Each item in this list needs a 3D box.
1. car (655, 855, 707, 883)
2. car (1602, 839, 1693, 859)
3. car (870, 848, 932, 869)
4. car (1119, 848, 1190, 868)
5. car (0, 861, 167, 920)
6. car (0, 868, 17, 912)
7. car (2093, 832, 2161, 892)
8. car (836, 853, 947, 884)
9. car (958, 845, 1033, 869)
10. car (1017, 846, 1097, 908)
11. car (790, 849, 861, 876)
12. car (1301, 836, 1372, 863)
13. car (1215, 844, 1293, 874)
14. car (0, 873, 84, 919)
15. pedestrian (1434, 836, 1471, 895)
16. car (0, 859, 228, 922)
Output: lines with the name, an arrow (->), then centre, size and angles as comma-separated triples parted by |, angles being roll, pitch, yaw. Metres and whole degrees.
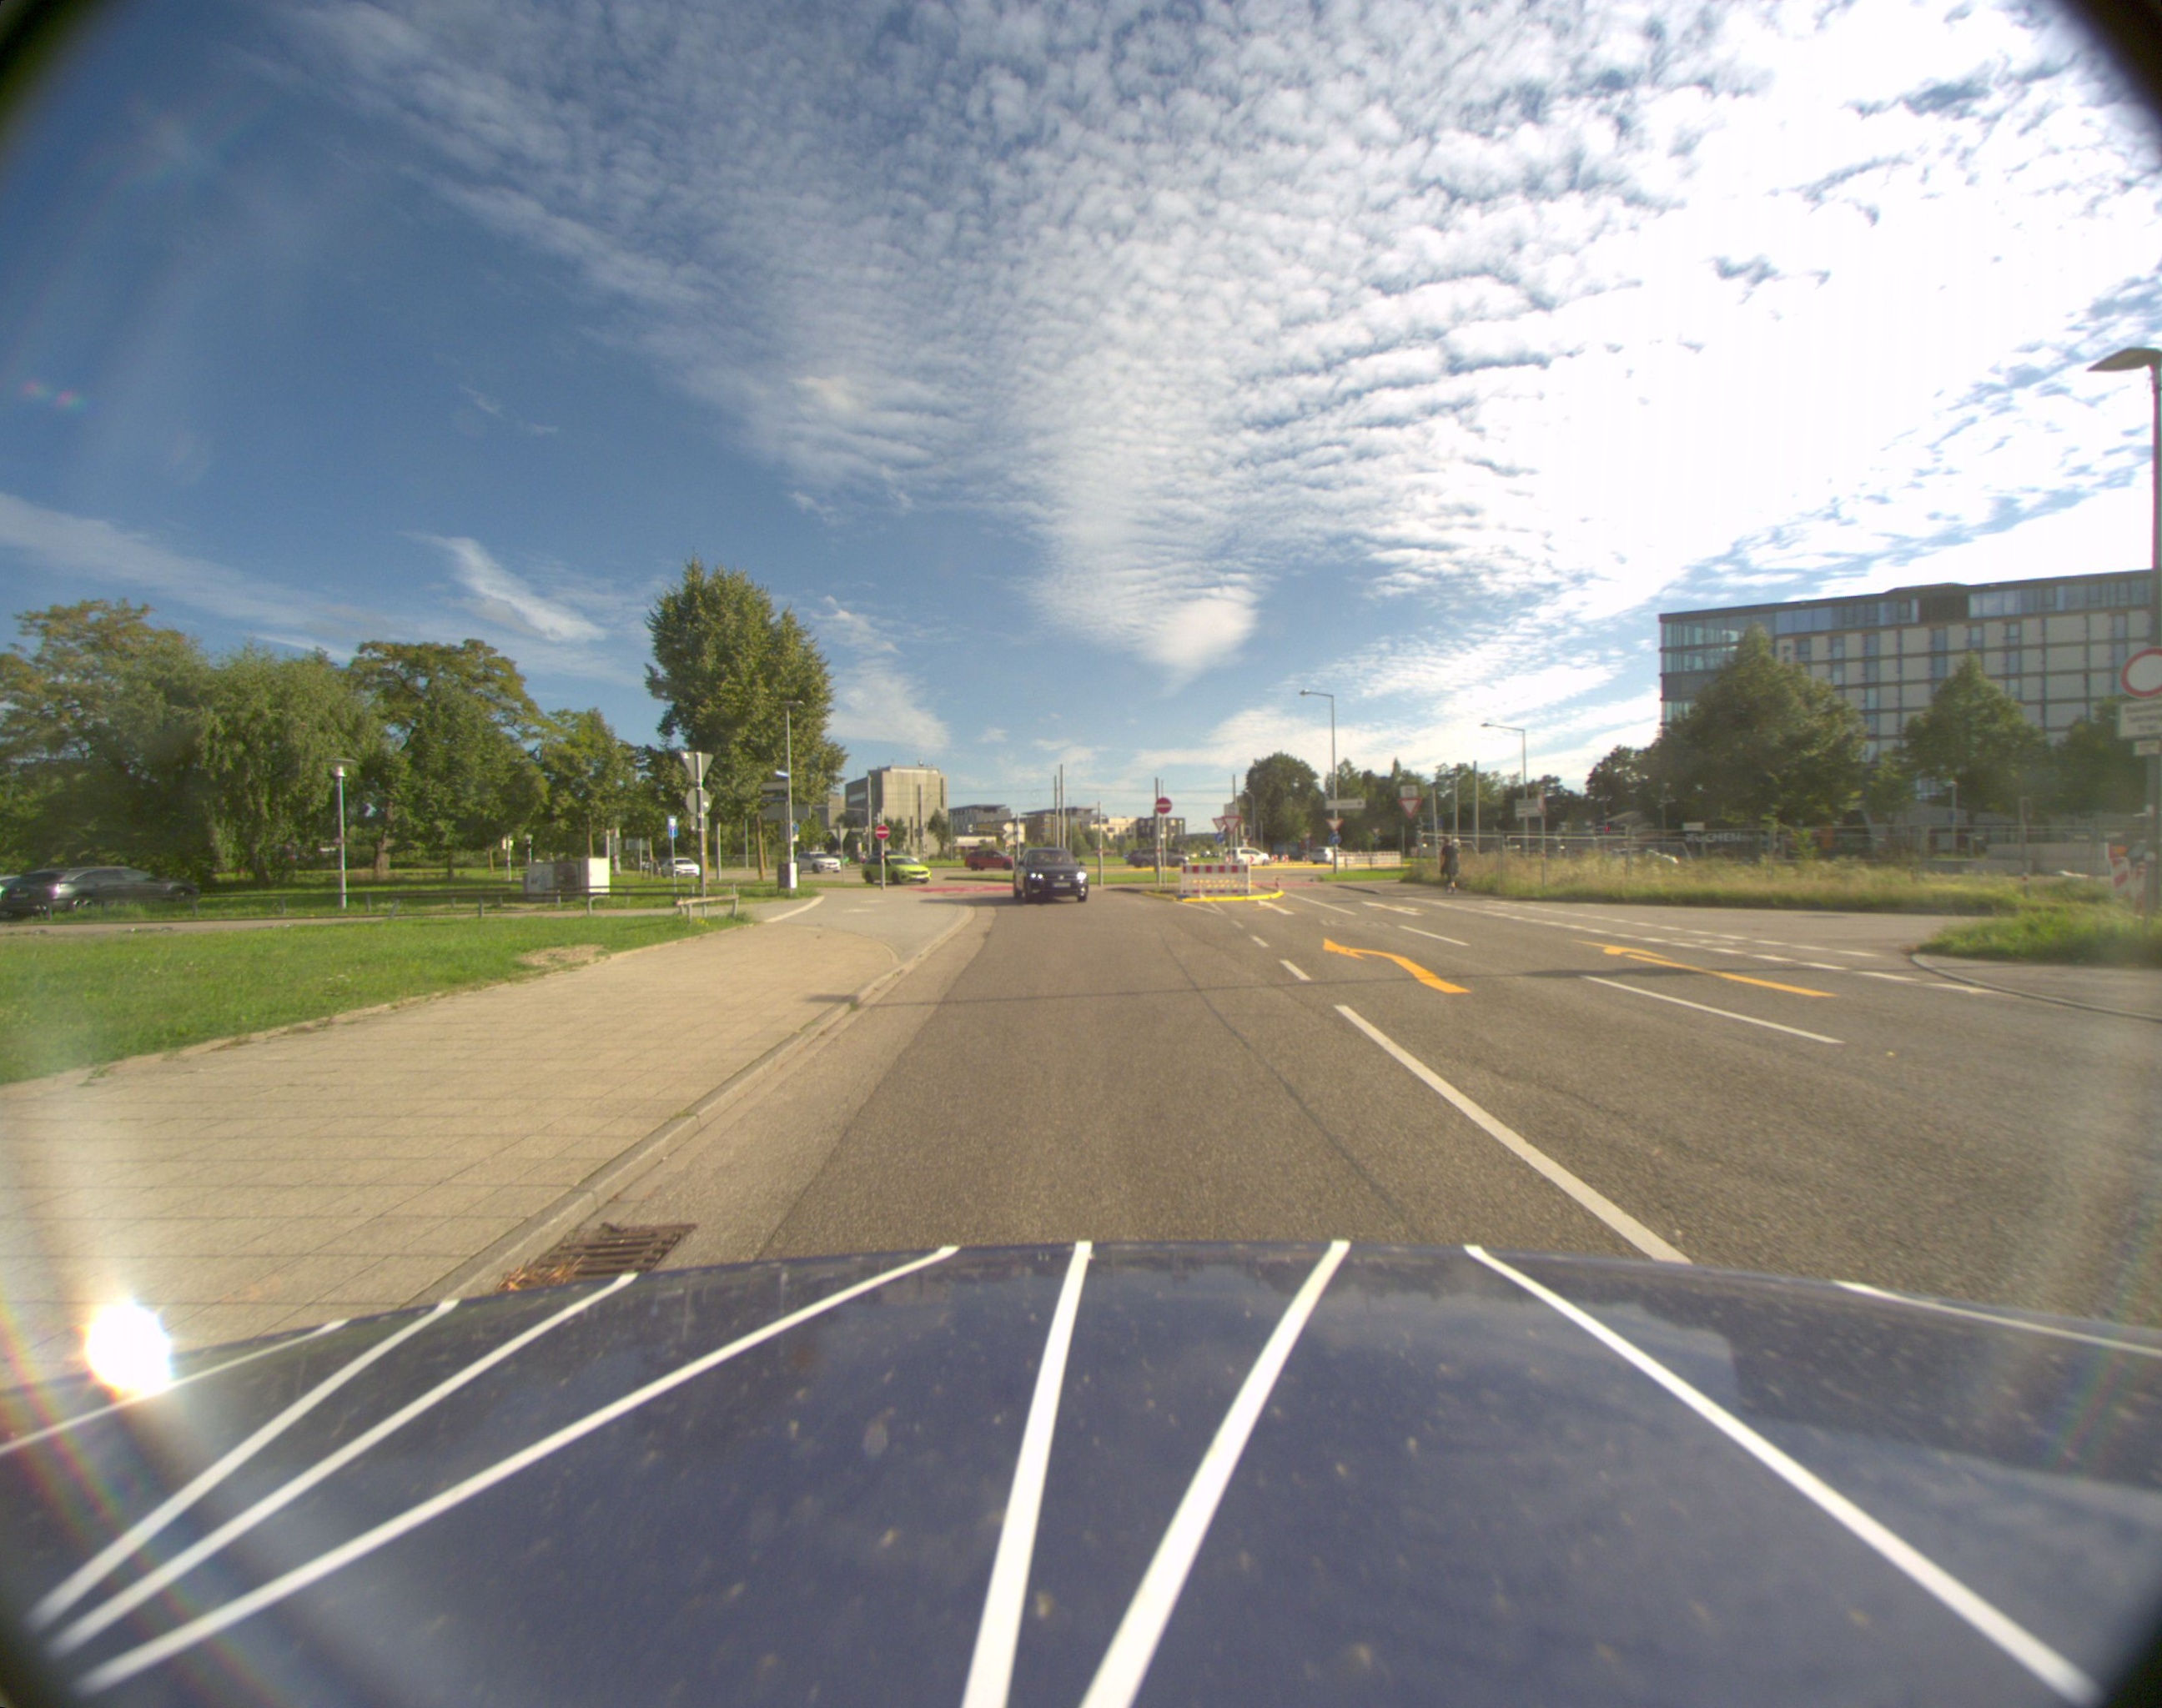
car -> -28.340, 1.033, 53.792 | 1.843, 1.856, 5.389 | -3, 2, -43
car -> 40.243, -0.353, 54.103 | 4.804, 1.344, 2.001 | -1, 1, 10
car -> -13.649, 0.363, 57.747 | 4.252, 1.477, 2.003 | -1, 1, 27
car -> 5.325, 0.258, 55.342 | 4.813, 1.344, 1.998 | -1, 1, -11
car -> -35.982, 1.243, 26.480 | 2.271, 1.789, 4.791 | -2, 1, 2
car -> -40.981, 1.417, 25.929 | 2.271, 1.587, 4.911 | -2, 1, 2
car -> 31.638, 0.198, 20.976 | 2.003, 1.649, 4.401 | -3, 2, -38
car -> -9.853, 0.748, 39.285 | 5.972, 1.461, 2.046 | -1, 2, 34
car -> -6.208, 0.195, 55.235 | 4.861, 1.515, 2.308 | -2, 1, 12
car -> -0.839, 0.624, 23.383 | 1.823, 1.648, 4.238 | -2, 1, -10
car -> -19.356, 0.607, 57.405 | 6.234, 1.856, 2.482 | -1, 2, 45
car -> 21.379, -0.376, 63.591 | 5.814, 2.047, 2.471 | -3, 2, -32
car -> 13.436, 0.371, 58.986 | 5.510, 2.047, 2.472 | -3, 2, -27
car -> -38.600, 1.557, 26.083 | 2.085, 1.491, 4.911 | -2, 1, 2
pedestrian -> 11.772, 0.361, 24.077 | 0.710, 1.813, 0.743 | -3, 1, -22
car -> -33.285, 1.170, 26.119 | 2.271, 1.789, 4.910 | -2, 1, 1
